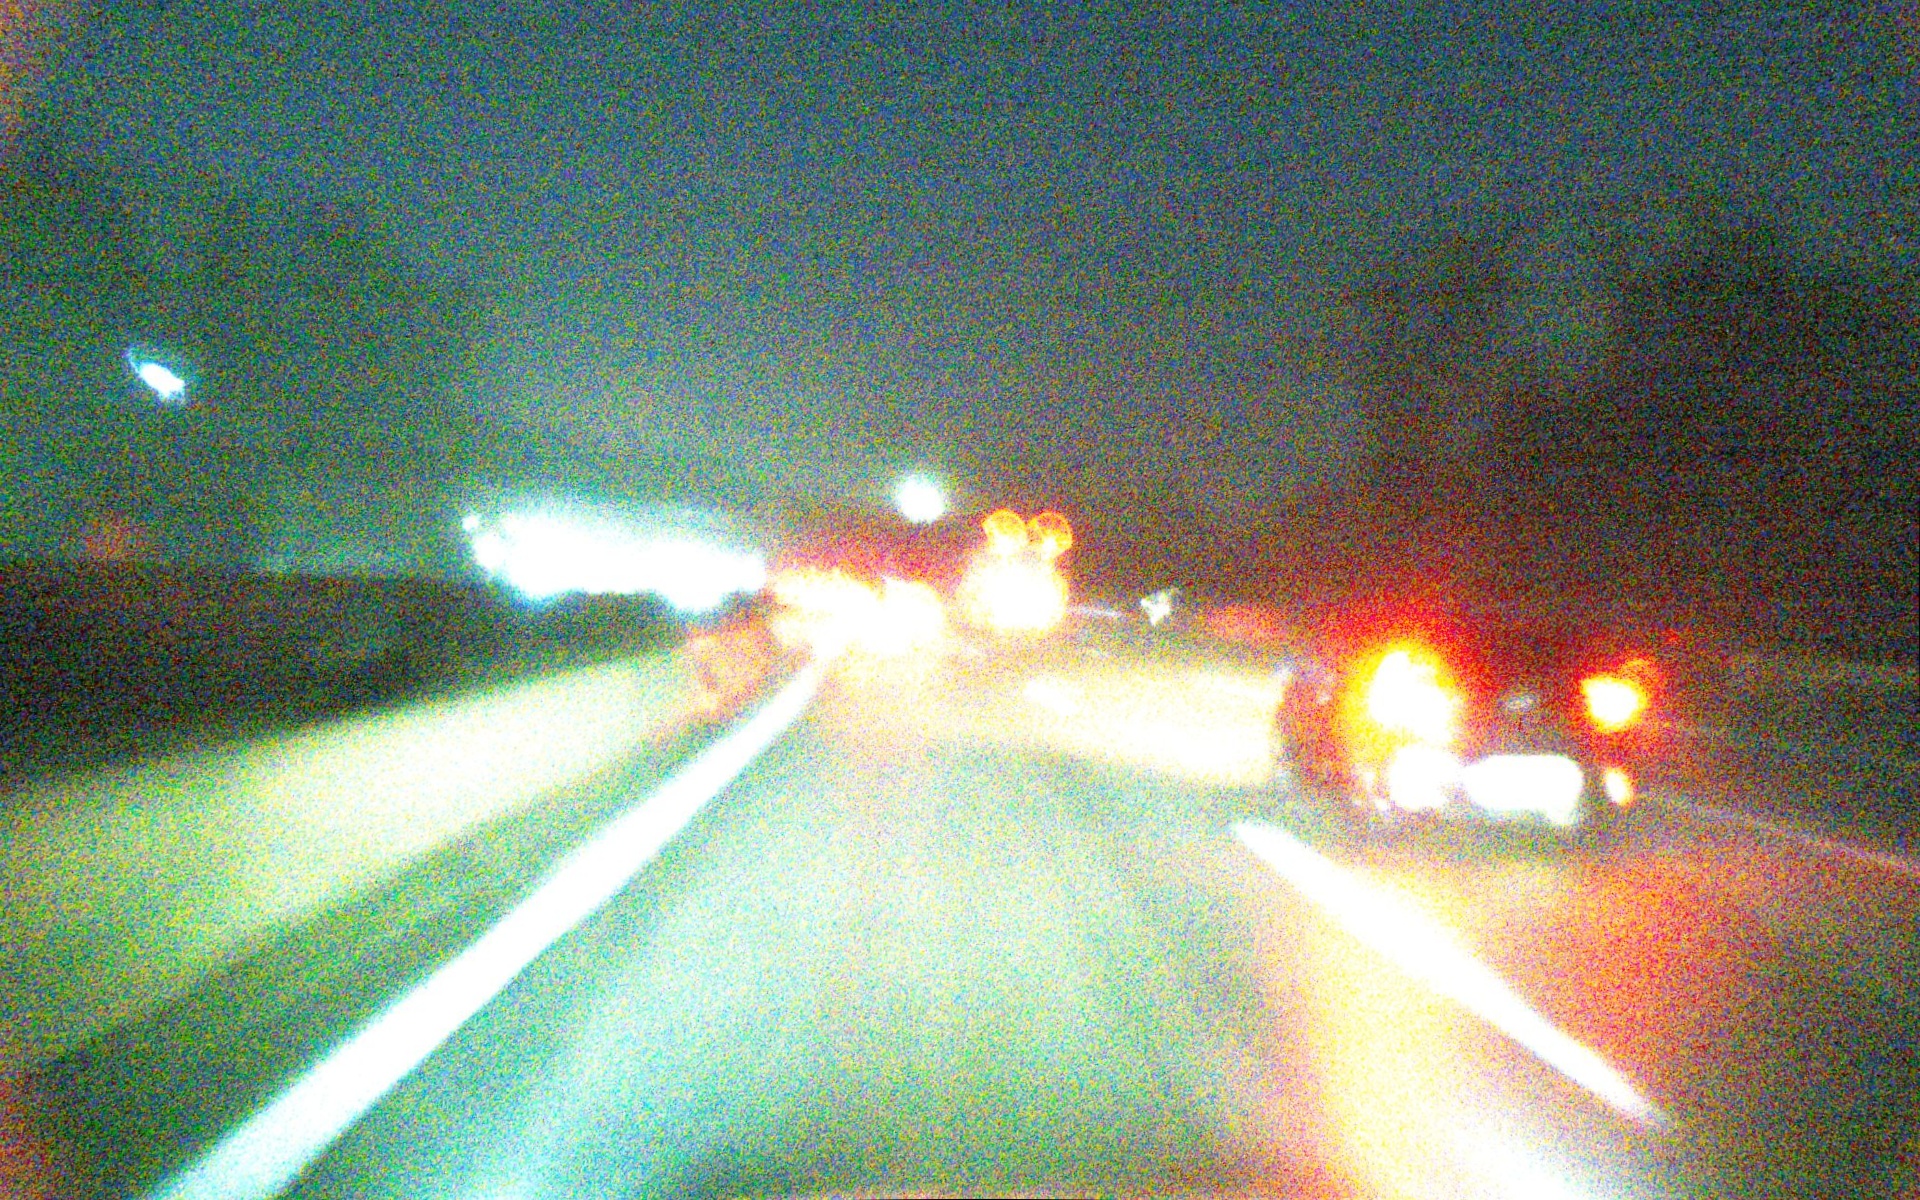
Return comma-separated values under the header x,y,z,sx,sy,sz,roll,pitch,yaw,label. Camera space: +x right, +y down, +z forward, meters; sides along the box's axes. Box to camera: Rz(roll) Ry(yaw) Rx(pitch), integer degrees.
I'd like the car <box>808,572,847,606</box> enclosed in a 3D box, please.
x,y,z,sx,sy,sz,roll,pitch,yaw,label
-8.449,-0.688,105.354,1.959,2.049,3.988,0,0,-12,car

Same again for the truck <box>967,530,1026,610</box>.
x,y,z,sx,sy,sz,roll,pitch,yaw,label
2.016,-1.681,92.911,2.657,4.315,5.288,1,1,-5,truck

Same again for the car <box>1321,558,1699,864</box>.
x,y,z,sx,sy,sz,roll,pitch,yaw,label
3.513,0.585,11.341,1.762,1.645,4.260,1,1,9,car

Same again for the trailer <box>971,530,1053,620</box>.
x,y,z,sx,sy,sz,roll,pitch,yaw,label
2.576,-1.443,86.537,2.686,4.321,13.360,-1,2,-5,trailer

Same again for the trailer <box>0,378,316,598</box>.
x,y,z,sx,sy,sz,roll,pitch,yaw,label
-16.923,-2.218,35.135,2.870,3.812,9.497,5,1,-3,trailer

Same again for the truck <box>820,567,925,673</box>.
x,y,z,sx,sy,sz,roll,pitch,yaw,label
-2.011,0.383,39.999,2.102,2.112,6.603,5,1,-1,truck

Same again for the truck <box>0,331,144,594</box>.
x,y,z,sx,sy,sz,roll,pitch,yaw,label
-16.429,-2.238,25.116,2.890,4.105,10.649,5,1,-3,truck
